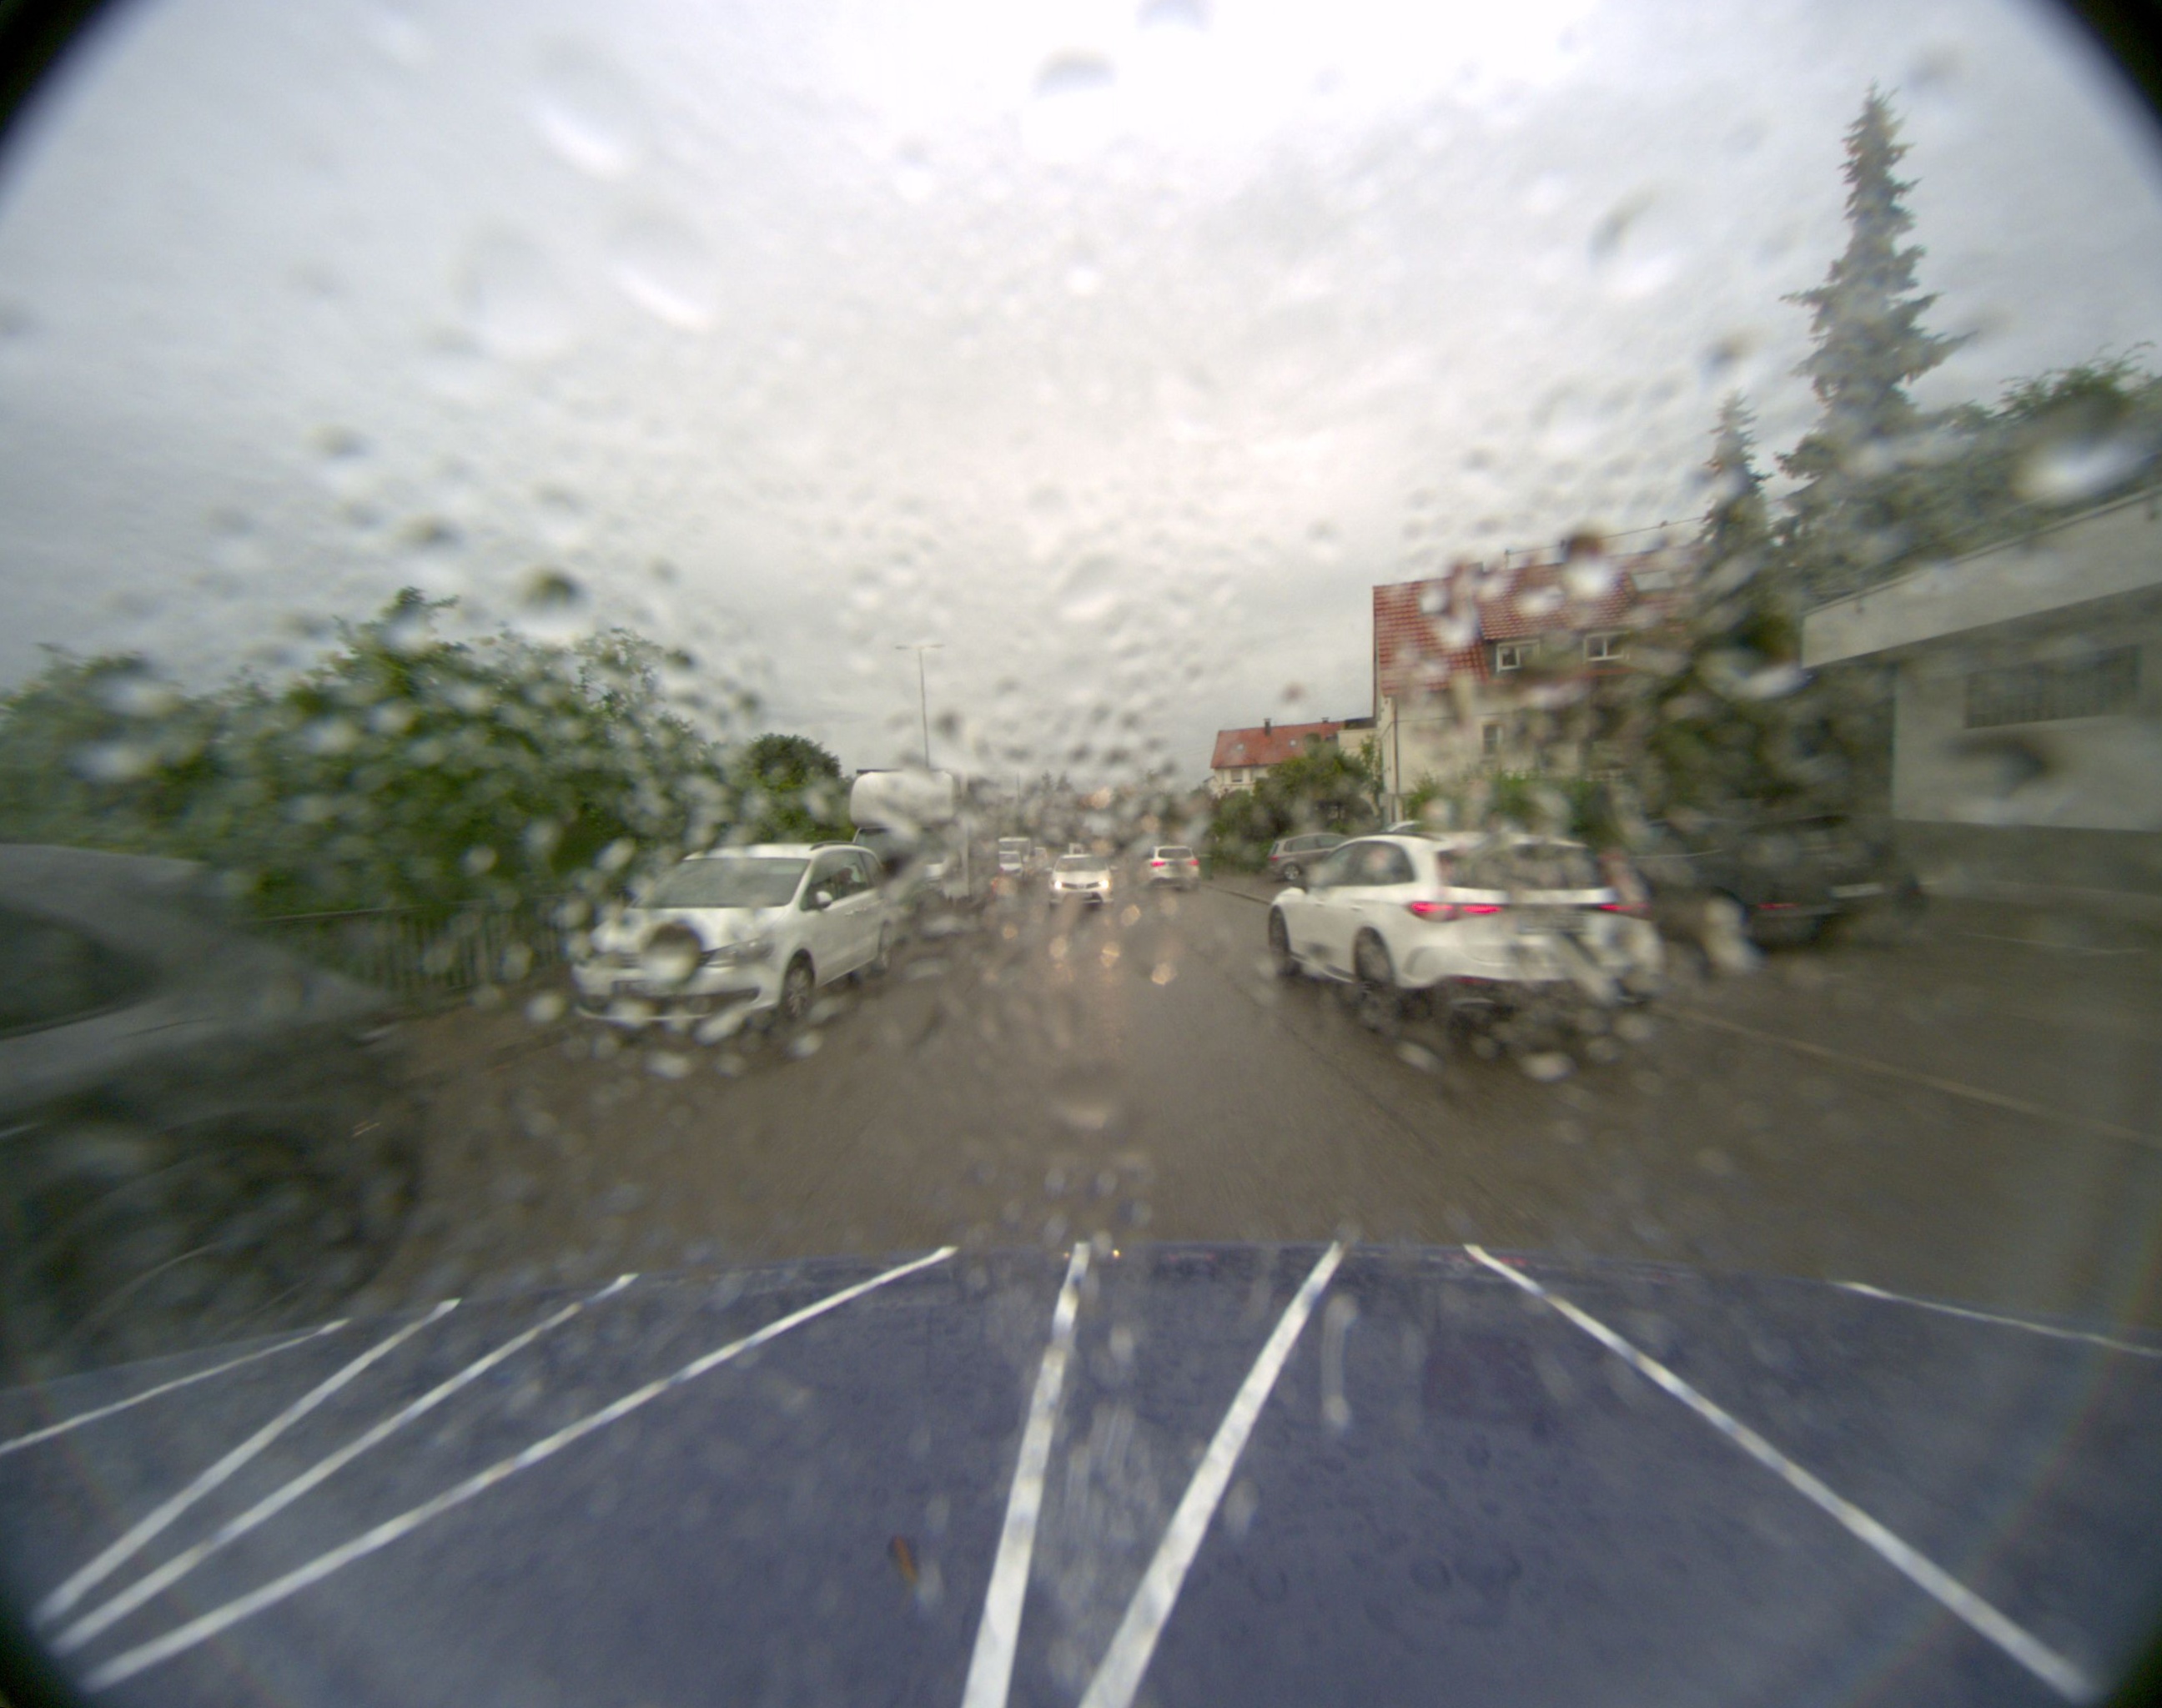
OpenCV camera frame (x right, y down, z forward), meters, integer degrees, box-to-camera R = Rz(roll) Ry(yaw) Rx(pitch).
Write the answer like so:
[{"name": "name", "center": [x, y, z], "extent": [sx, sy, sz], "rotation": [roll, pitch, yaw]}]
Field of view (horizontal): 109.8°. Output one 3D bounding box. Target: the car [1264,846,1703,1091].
[{"name": "car", "center": [3.131, 0.723, 7.098], "extent": [1.803, 1.558, 4.383], "rotation": [-1, 1, 0]}]

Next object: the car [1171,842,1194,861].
[{"name": "car", "center": [8.535, -0.196, 64.016], "extent": [1.769, 1.368, 4.249], "rotation": [-5, 1, 7]}]

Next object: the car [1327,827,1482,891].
[{"name": "car", "center": [9.580, 0.128, 22.858], "extent": [4.060, 1.629, 1.895], "rotation": [-3, 2, 17]}]

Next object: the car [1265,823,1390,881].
[{"name": "car", "center": [8.891, -0.087, 27.727], "extent": [4.061, 1.682, 1.895], "rotation": [-5, 1, 14]}]

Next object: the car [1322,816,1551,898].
[{"name": "car", "center": [8.961, 0.100, 19.705], "extent": [5.091, 1.933, 2.144], "rotation": [-1, 1, 17]}]

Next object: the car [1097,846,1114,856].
[{"name": "car", "center": [3.629, -0.430, 111.333], "extent": [1.635, 1.448, 3.705], "rotation": [-1, 1, 17]}]

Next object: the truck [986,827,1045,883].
[{"name": "truck", "center": [-3.270, 0.002, 39.225], "extent": [2.244, 2.616, 6.537], "rotation": [-1, 1, 1]}]

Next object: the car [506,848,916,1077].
[{"name": "car", "center": [-3.450, 0.817, 8.662], "extent": [1.850, 1.674, 5.637], "rotation": [-1, 1, 0]}]

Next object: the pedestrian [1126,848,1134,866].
[{"name": "pedestrian", "center": [4.476, 0.237, 69.680], "extent": [0.718, 1.626, 0.707], "rotation": [-1, 1, 2]}]

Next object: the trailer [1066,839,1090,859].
[{"name": "trailer", "center": [-0.348, -0.640, 96.424], "extent": [1.952, 2.443, 5.437], "rotation": [-1, 1, 10]}]

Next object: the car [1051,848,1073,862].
[{"name": "car", "center": [-2.071, 0.056, 85.300], "extent": [1.796, 1.451, 4.790], "rotation": [-1, 1, 6]}]

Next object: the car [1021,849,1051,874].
[{"name": "car", "center": [-2.972, 0.449, 51.271], "extent": [1.652, 1.554, 3.963], "rotation": [-1, 1, 2]}]

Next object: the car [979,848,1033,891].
[{"name": "car", "center": [-3.035, 0.586, 31.695], "extent": [1.764, 1.595, 4.665], "rotation": [-1, 1, 0]}]

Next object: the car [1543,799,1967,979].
[{"name": "car", "center": [8.026, 0.338, 9.719], "extent": [1.693, 1.579, 4.197], "rotation": [-8, 0, 4]}]

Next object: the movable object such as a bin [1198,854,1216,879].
[{"name": "movable object such as a bin", "center": [5.481, 0.535, 33.099], "extent": [0.604, 1.058, 0.698], "rotation": [-3, 1, -4]}]

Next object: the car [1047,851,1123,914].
[{"name": "car", "center": [0.199, 0.717, 21.447], "extent": [1.862, 1.370, 4.180], "rotation": [-3, 2, 3]}]

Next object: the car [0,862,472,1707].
[{"name": "car", "center": [-3.059, 0.904, 0.143], "extent": [1.941, 1.662, 4.694], "rotation": [-1, 1, 2]}]

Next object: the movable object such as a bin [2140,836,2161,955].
[{"name": "movable object such as a bin", "center": [9.988, 0.365, 6.473], "extent": [0.725, 1.064, 0.850], "rotation": [-6, 2, 18]}]

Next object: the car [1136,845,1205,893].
[{"name": "car", "center": [3.304, 0.509, 28.825], "extent": [1.911, 1.598, 4.427], "rotation": [-3, 1, -2]}]

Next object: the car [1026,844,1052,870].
[{"name": "car", "center": [-3.139, 0.197, 57.527], "extent": [1.854, 1.871, 4.908], "rotation": [-1, 1, -2]}]

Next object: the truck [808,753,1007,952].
[{"name": "truck", "center": [-3.312, -0.090, 16.785], "extent": [2.442, 3.316, 7.963], "rotation": [-1, 1, 0]}]

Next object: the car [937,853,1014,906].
[{"name": "car", "center": [-3.342, 0.752, 25.024], "extent": [1.837, 1.429, 4.985], "rotation": [-1, 1, -1]}]
